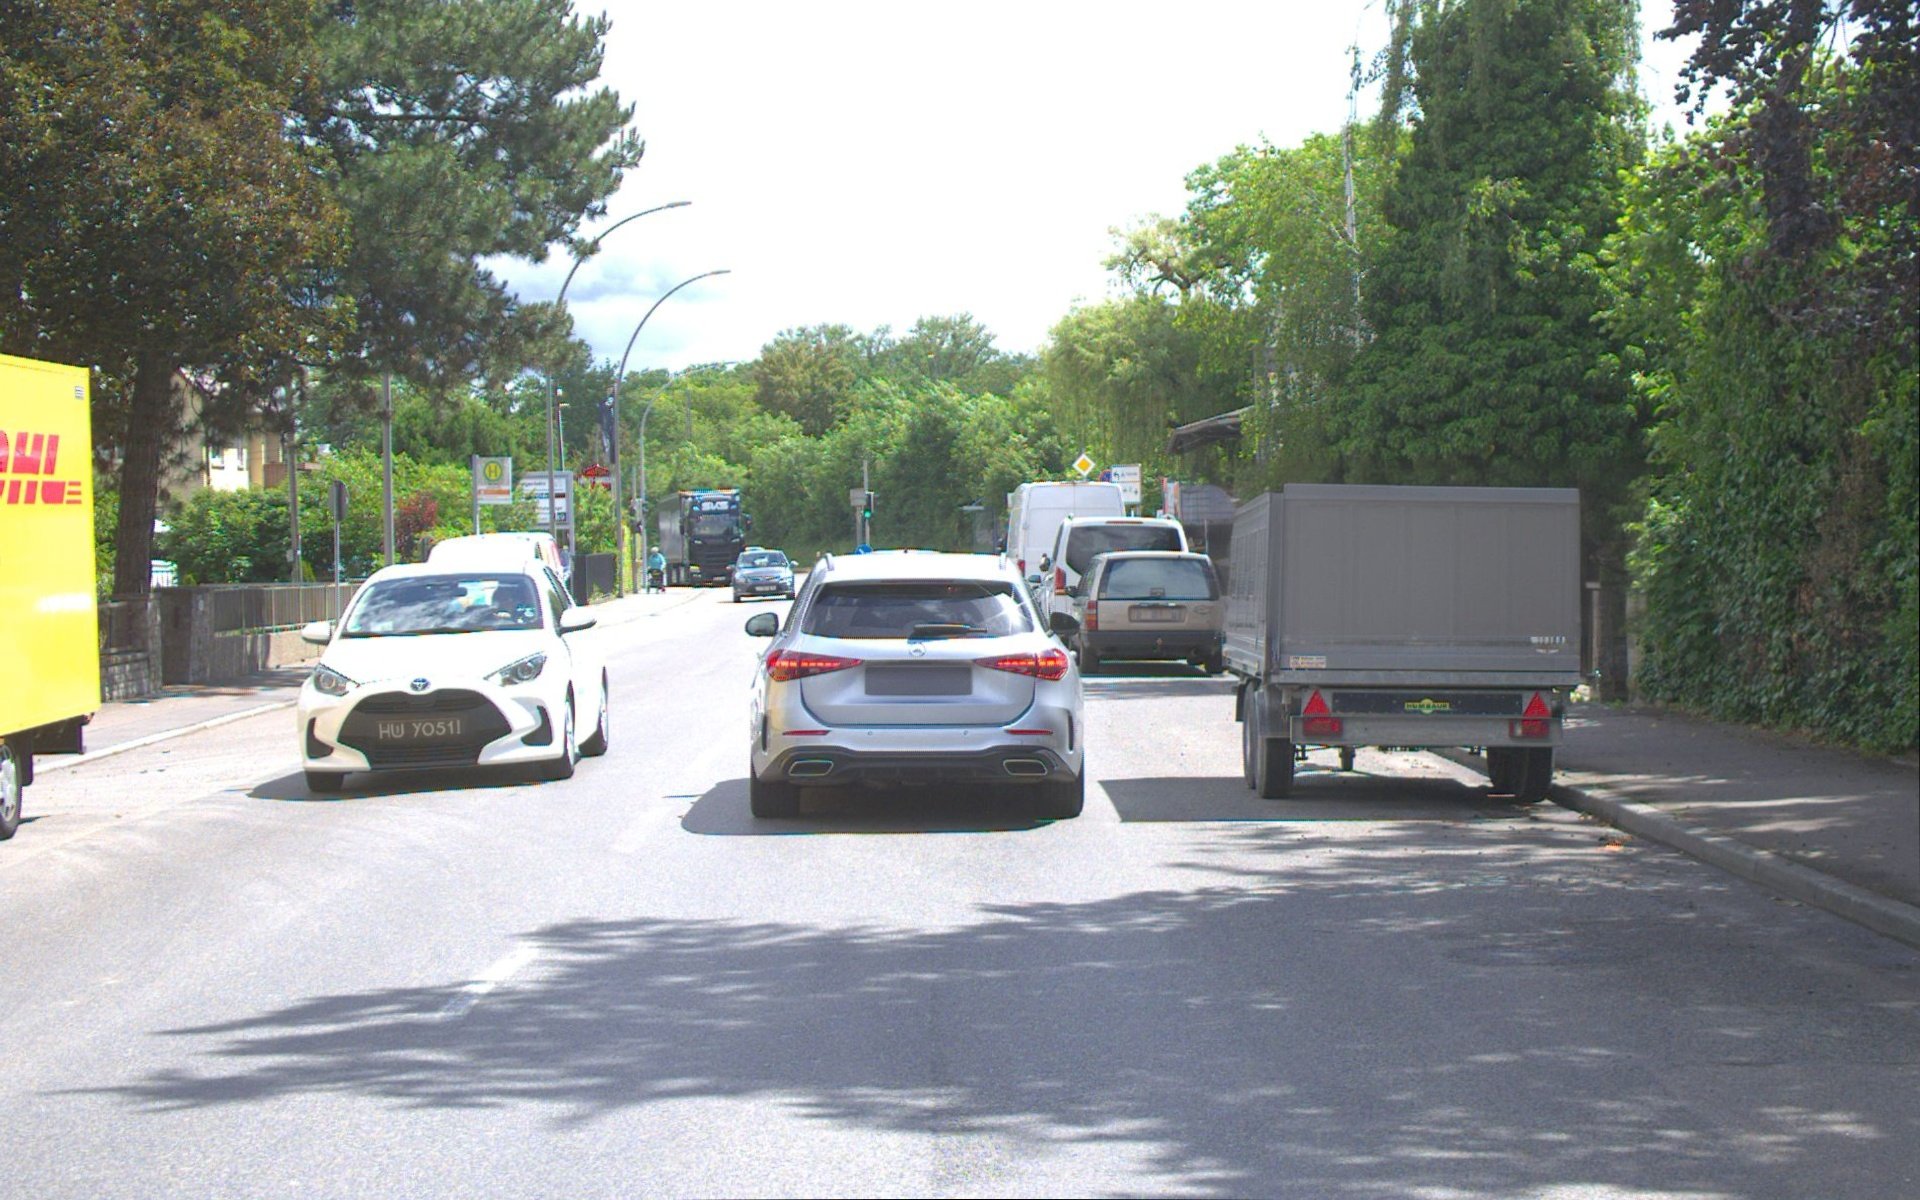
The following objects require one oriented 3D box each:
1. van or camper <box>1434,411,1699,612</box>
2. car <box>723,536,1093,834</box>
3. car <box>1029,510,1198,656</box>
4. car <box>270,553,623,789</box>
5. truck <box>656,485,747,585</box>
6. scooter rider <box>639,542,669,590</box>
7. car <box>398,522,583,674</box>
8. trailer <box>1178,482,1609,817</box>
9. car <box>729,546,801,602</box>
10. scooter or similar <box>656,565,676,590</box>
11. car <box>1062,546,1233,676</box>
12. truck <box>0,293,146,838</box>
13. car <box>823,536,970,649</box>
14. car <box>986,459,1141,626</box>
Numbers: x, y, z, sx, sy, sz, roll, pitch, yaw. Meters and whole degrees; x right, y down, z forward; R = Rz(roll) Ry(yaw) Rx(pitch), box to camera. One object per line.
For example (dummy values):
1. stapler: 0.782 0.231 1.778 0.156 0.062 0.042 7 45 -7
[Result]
1. van or camper: 9.908 -1.426 56.866 2.881 3.050 6.914 -1 1 -2
2. car: -0.286 0.406 19.731 1.884 1.503 4.000 -1 1 0
3. car: 2.049 -0.268 47.300 1.905 1.879 5.390 0 1 -2
4. car: -3.443 0.419 23.754 1.982 1.415 4.001 -2 1 -3
5. truck: -11.087 -2.737 146.709 2.428 4.117 9.153 1 0 -13
6. scooter rider: -10.168 -1.128 114.273 0.878 1.584 0.796 -1 1 0
7. car: -6.531 -0.080 48.324 1.833 1.847 4.896 -5 2 0
8. trailer: 2.522 0.232 21.177 1.993 1.816 4.765 0 1 -1
9. car: -5.614 -0.771 99.242 1.900 1.512 4.319 -2 1 -1
10. scooter or similar: -9.735 -0.736 113.854 0.611 0.829 0.659 0 1 0
11. car: 2.209 0.090 41.612 1.754 1.445 4.994 1 1 0
12. truck: -6.416 -0.141 18.413 2.323 2.993 7.819 -4 1 -2
13. car: -0.938 -0.131 48.616 1.884 1.503 4.001 -1 1 -3
14. car: 1.743 -1.008 60.123 2.215 2.680 6.658 -2 1 -2
